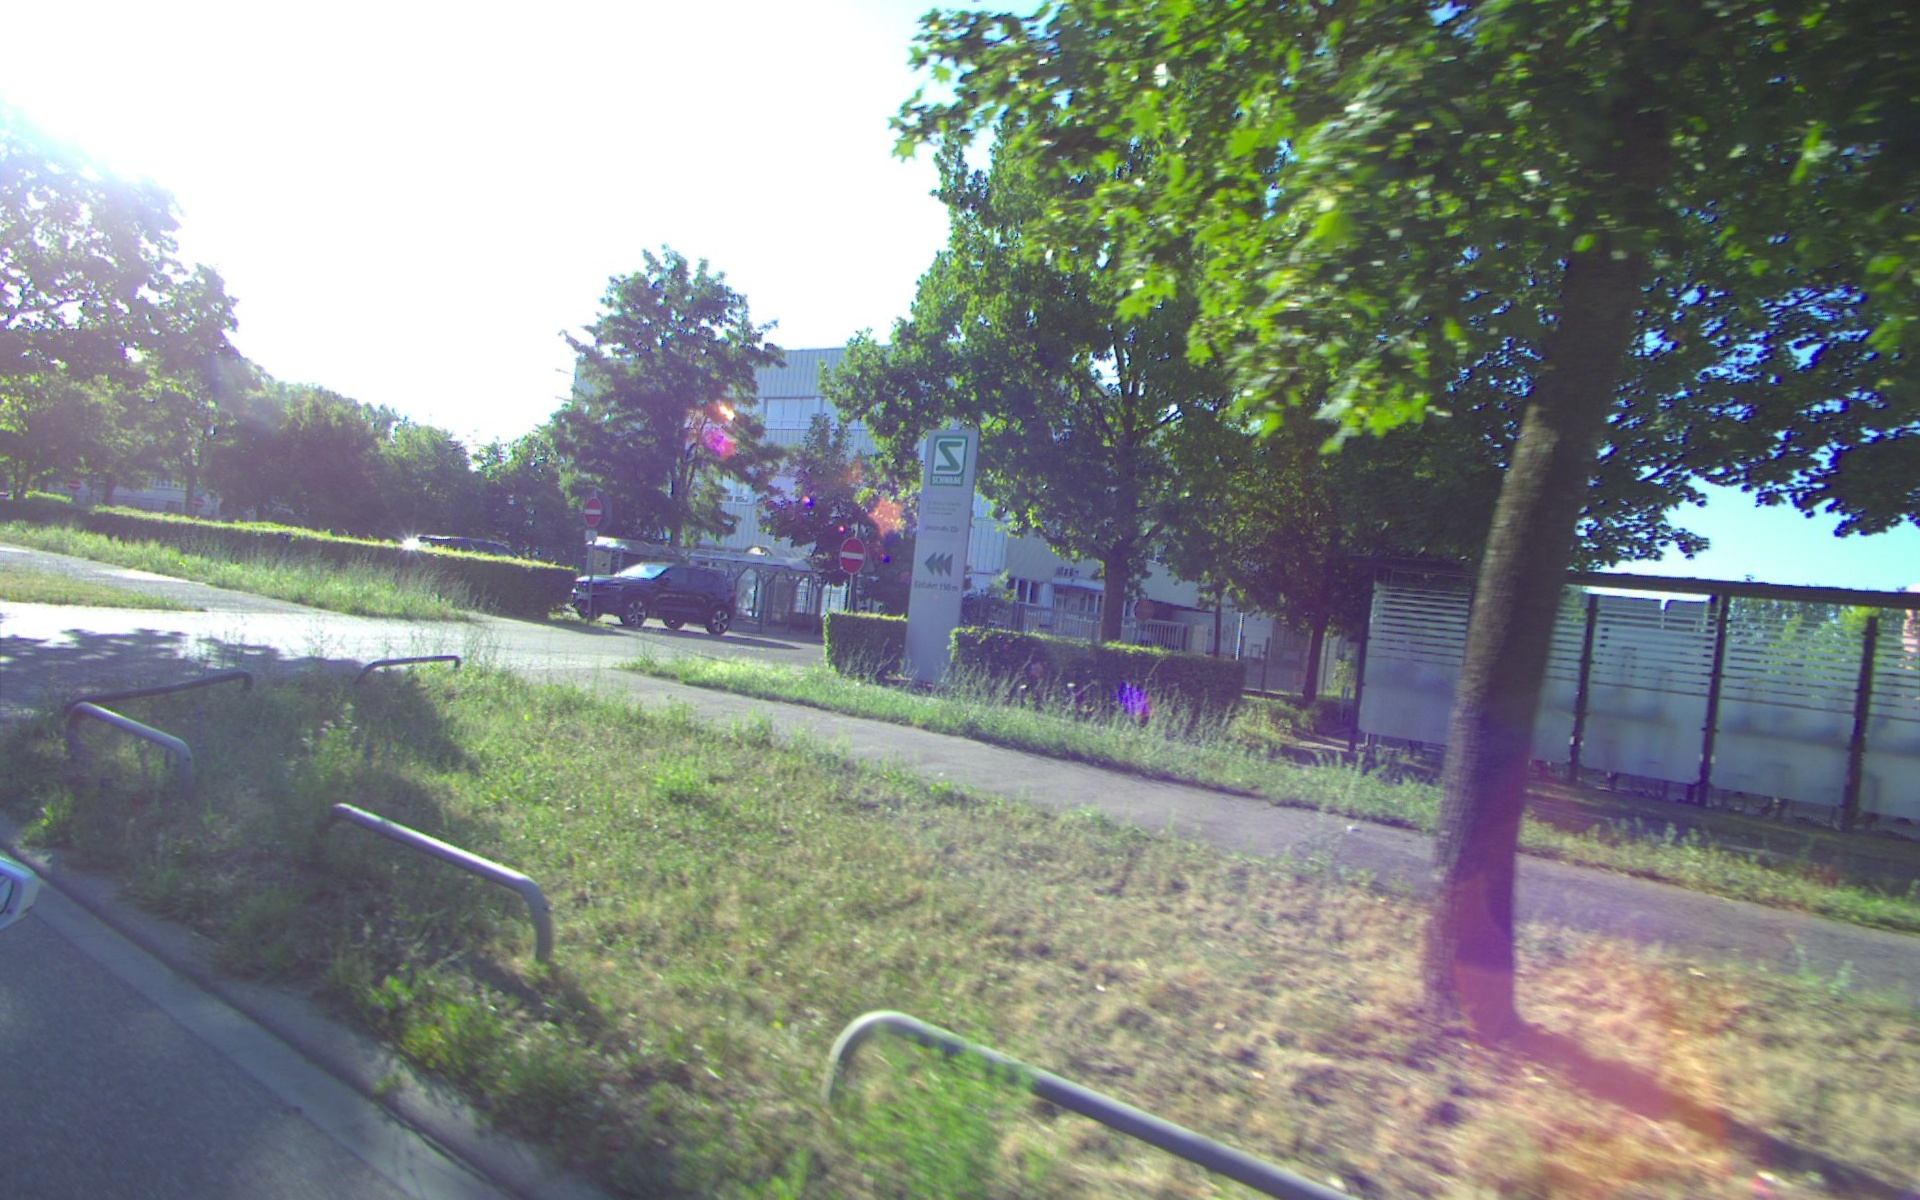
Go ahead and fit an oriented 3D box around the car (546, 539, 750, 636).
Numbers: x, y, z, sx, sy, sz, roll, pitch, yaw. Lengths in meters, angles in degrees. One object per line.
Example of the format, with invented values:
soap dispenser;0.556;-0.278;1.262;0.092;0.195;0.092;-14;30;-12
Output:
car;-7.578;-0.245;24.874;2.025;1.725;4.438;7;-2;32

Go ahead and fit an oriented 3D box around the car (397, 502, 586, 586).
car;-13.126;-1.519;28.436;1.968;1.727;4.362;7;0;33
